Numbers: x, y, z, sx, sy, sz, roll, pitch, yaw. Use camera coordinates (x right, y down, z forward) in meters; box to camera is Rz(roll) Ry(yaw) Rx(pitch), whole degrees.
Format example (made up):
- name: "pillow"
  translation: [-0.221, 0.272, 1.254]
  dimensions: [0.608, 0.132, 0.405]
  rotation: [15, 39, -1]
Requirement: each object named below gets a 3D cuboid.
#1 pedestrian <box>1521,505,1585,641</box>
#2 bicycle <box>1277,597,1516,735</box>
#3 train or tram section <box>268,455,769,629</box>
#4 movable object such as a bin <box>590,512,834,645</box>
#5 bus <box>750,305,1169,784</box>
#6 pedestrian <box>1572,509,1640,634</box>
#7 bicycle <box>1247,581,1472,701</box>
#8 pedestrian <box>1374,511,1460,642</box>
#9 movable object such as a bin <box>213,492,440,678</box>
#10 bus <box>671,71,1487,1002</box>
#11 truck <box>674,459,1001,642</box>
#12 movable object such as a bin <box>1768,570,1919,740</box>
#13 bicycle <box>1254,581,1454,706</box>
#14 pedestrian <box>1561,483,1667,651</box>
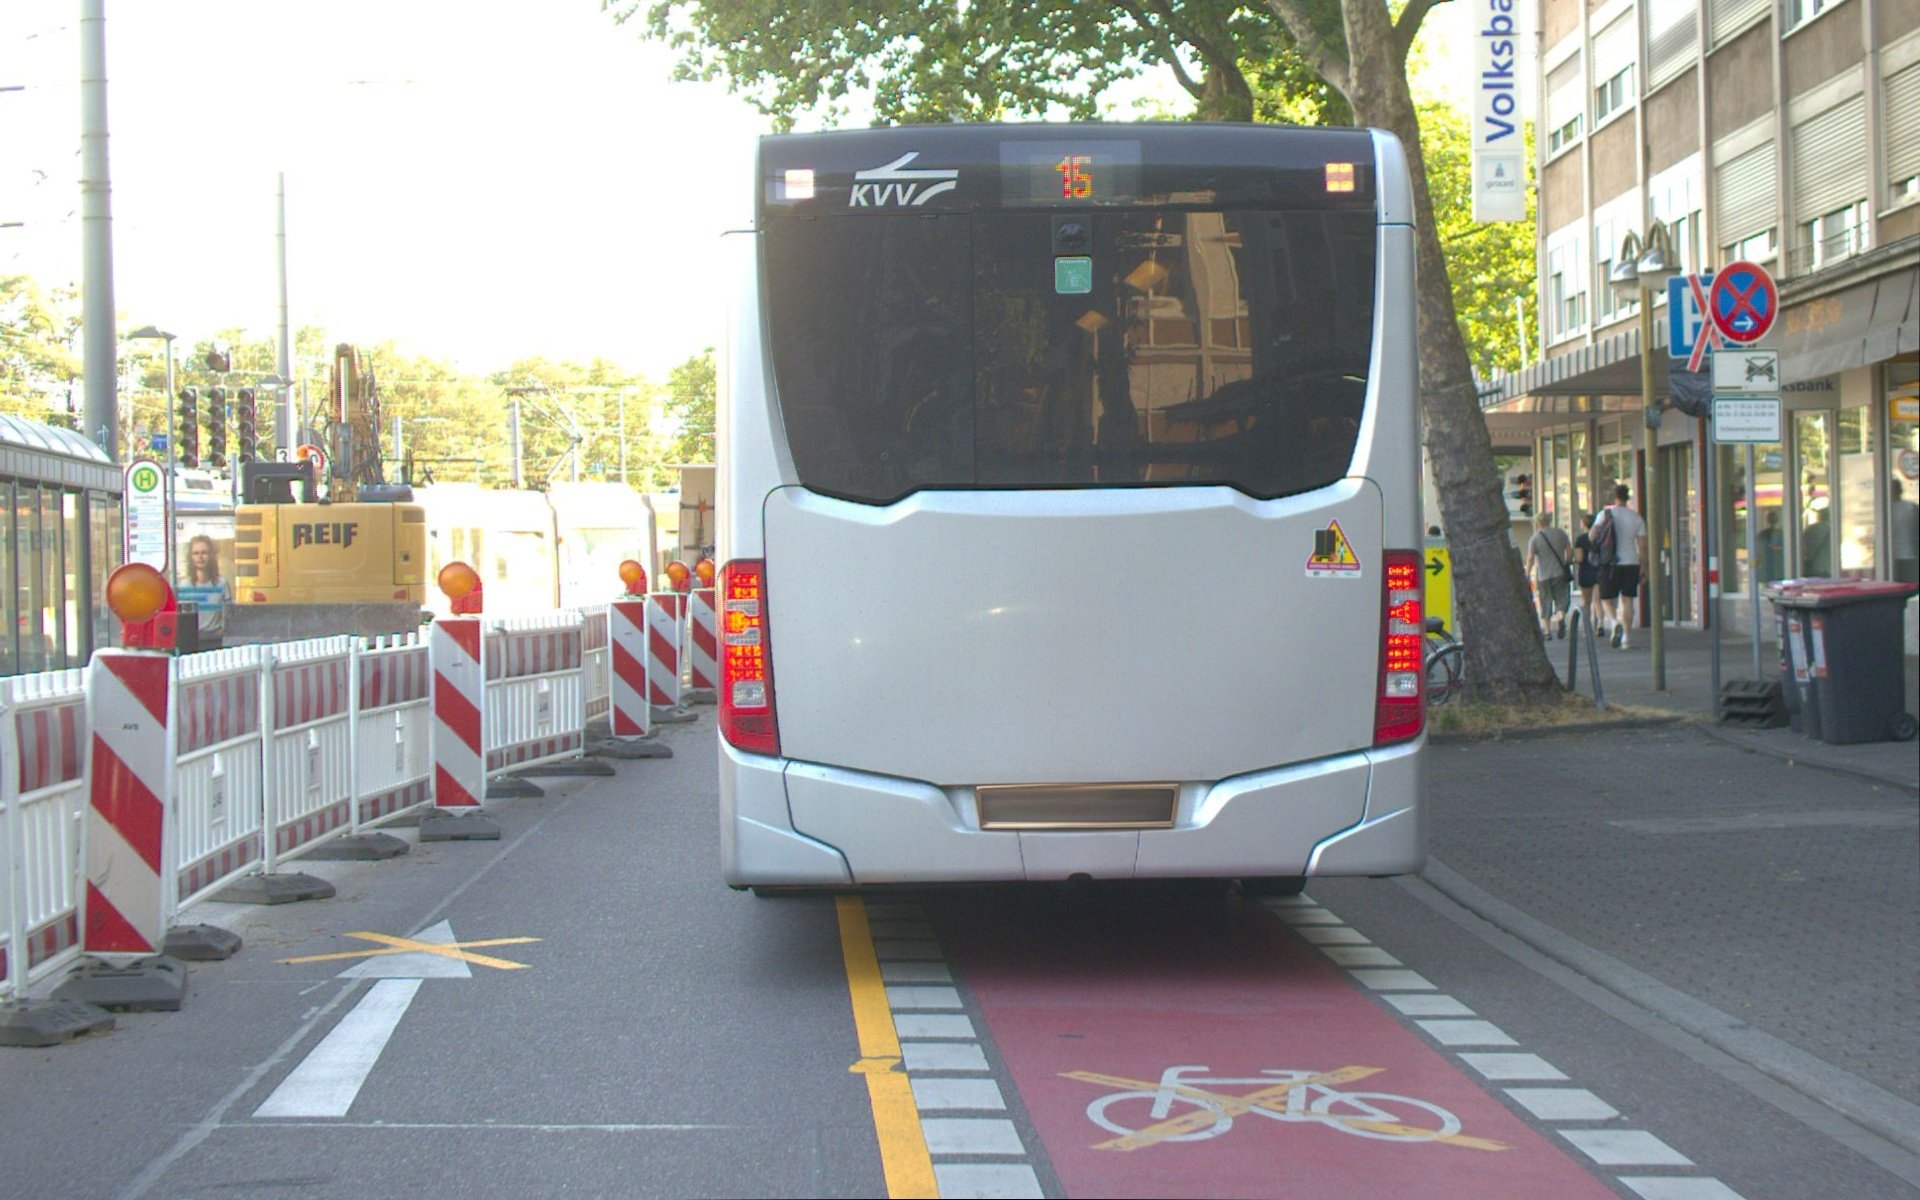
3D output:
- name: "pedestrian"
  translation: [7.640, -0.354, 44.333]
  dimensions: [0.583, 1.702, 0.679]
  rotation: [-4, 1, -1]
- name: "bicycle"
  translation: [3.527, 0.530, 27.852]
  dimensions: [1.789, 1.018, 0.644]
  rotation: [-2, 1, -3]
- name: "train or tram section"
  translation: [-9.436, -1.233, 76.191]
  dimensions: [2.855, 3.521, 13.370]
  rotation: [-1, 0, 34]
- name: "movable object such as a bin"
  translation: [-4.320, -0.419, 60.795]
  dimensions: [1.996, 2.249, 5.201]
  rotation: [1, 1, 26]
- name: "bus"
  translation: [-0.226, -0.411, 26.957]
  dimensions: [2.708, 3.096, 8.981]
  rotation: [1, 1, -3]
- name: "pedestrian"
  translation: [8.329, -0.376, 44.347]
  dimensions: [0.633, 1.568, 0.774]
  rotation: [-4, 1, -1]
- name: "bicycle"
  translation: [3.805, 0.384, 32.838]
  dimensions: [1.986, 1.054, 0.771]
  rotation: [-2, 0, -4]
- name: "pedestrian"
  translation: [6.167, -0.319, 46.447]
  dimensions: [0.899, 1.704, 1.071]
  rotation: [-3, 1, -1]
- name: "movable object such as a bin"
  translation: [-8.340, -0.230, 45.711]
  dimensions: [2.642, 2.310, 4.903]
  rotation: [-1, 1, -7]
- name: "bus"
  translation: [0.227, -0.293, 17.114]
  dimensions: [2.733, 3.128, 10.704]
  rotation: [1, 1, -2]
- name: "truck"
  translation: [-2.364, -1.036, 71.034]
  dimensions: [2.816, 3.529, 8.971]
  rotation: [-1, 1, 26]
- name: "movable object such as a bin"
  translation: [5.954, 0.357, 23.197]
  dimensions: [0.674, 1.071, 1.228]
  rotation: [-2, 2, -1]
- name: "bicycle"
  translation: [3.593, 0.389, 31.433]
  dimensions: [1.713, 1.054, 0.644]
  rotation: [-2, 1, 1]
- name: "pedestrian"
  translation: [7.620, -0.386, 40.119]
  dimensions: [0.838, 1.863, 1.100]
  rotation: [-5, 1, -1]
